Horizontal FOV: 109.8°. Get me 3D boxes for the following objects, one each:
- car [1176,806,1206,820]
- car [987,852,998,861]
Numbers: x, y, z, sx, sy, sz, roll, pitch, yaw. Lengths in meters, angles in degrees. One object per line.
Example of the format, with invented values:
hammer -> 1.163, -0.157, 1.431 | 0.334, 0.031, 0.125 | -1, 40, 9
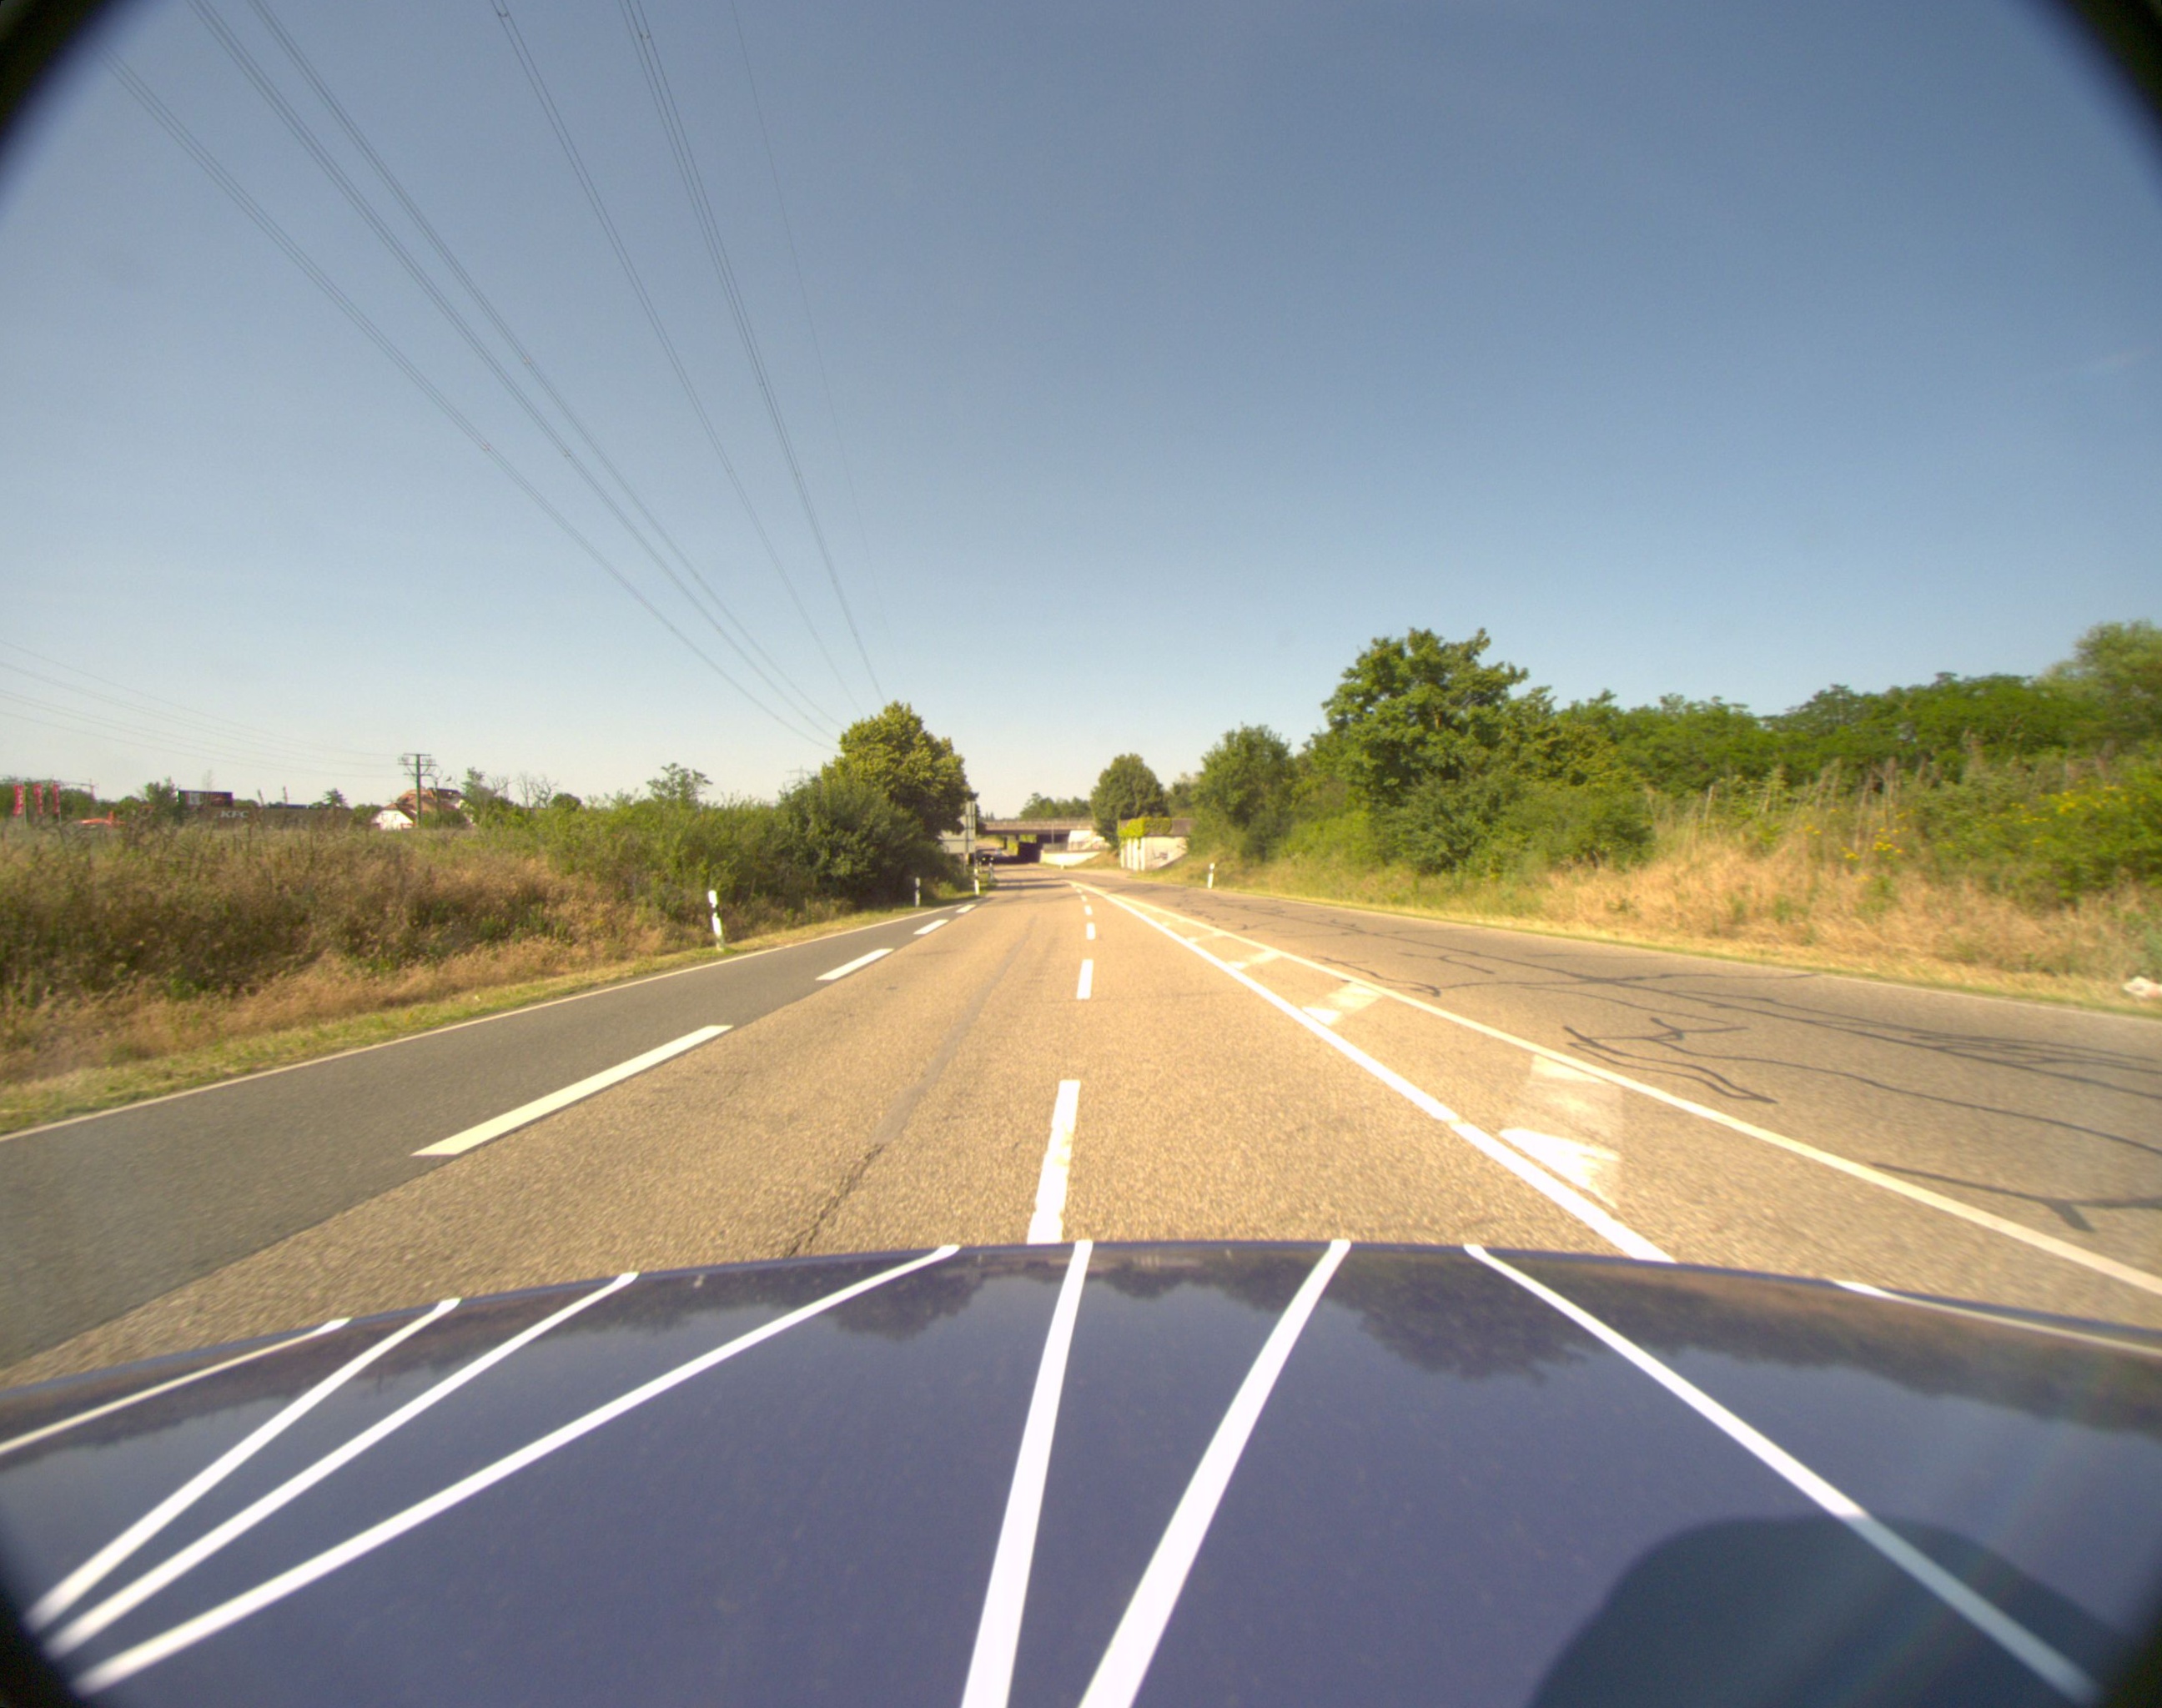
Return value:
car -> 17.623, -6.579, 121.497 | 4.327, 1.889, 1.748 | -2, 1, 28
car -> -15.829, 0.406, 135.597 | 1.861, 1.609, 3.644 | -1, 0, -10
